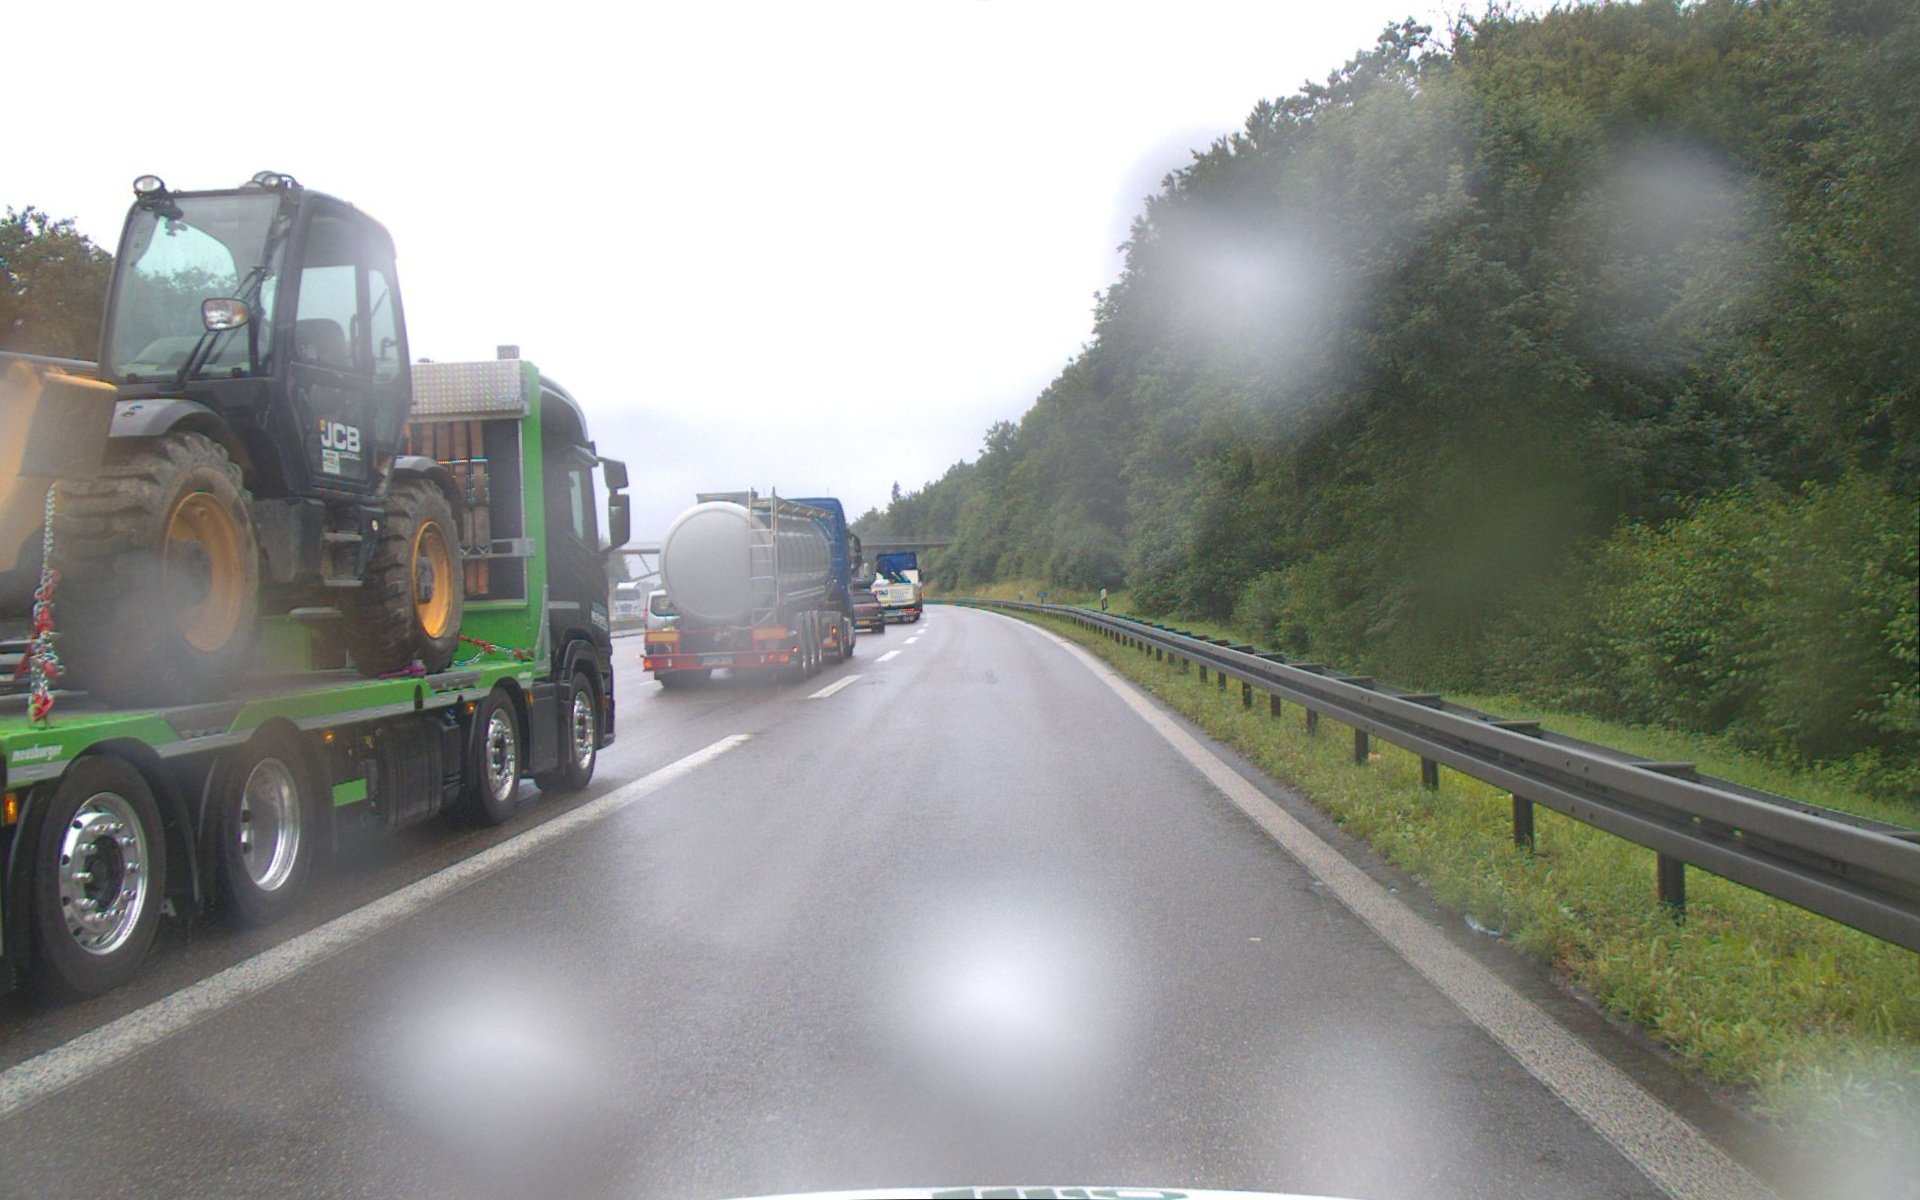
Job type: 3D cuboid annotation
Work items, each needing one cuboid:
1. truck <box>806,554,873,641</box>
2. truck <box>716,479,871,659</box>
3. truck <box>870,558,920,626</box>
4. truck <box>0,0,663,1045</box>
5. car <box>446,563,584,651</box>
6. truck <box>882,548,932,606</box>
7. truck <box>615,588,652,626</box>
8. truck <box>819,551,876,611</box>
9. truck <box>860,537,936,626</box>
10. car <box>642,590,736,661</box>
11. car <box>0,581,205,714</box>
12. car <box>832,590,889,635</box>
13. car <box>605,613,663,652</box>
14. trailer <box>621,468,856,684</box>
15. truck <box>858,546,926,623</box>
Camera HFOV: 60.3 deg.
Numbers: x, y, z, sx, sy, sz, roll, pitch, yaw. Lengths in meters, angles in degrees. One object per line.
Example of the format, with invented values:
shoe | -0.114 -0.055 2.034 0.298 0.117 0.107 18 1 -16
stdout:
truck | -8.178 -0.037 113.648 3.677 5.596 10.172 1 -1 1
truck | -3.725 -0.690 38.149 2.817 3.758 5.057 -2 0 1
truck | -5.856 -0.640 150.140 4.249 5.865 9.726 1 -1 -2
truck | -4.290 -0.378 8.439 2.772 3.651 11.801 -3 0 2
car | -10.068 0.144 37.735 1.953 1.829 4.154 -2 0 0
truck | -4.125 -1.687 128.387 3.679 4.040 11.053 1 -1 -2
truck | -35.316 0.705 178.915 2.400 4.017 7.239 -1 0 1
truck | -8.669 -1.409 128.827 3.503 4.167 10.878 -2 -1 0
truck | -3.142 -0.911 86.131 3.527 4.176 11.557 -2 0 -1
car | -7.278 0.662 44.803 1.782 1.798 4.000 -1 0 1
car | -14.630 0.790 27.852 1.760 2.049 4.001 1 -1 3
car | -3.858 0.503 64.602 1.953 1.665 3.999 1 -1 0
car | -15.728 1.544 80.000 1.953 1.803 4.134 -2 0 0
trailer | -3.858 -0.421 31.459 2.814 3.346 10.079 -2 0 1
truck | -4.096 -0.821 102.067 3.434 4.343 10.603 1 -1 1
